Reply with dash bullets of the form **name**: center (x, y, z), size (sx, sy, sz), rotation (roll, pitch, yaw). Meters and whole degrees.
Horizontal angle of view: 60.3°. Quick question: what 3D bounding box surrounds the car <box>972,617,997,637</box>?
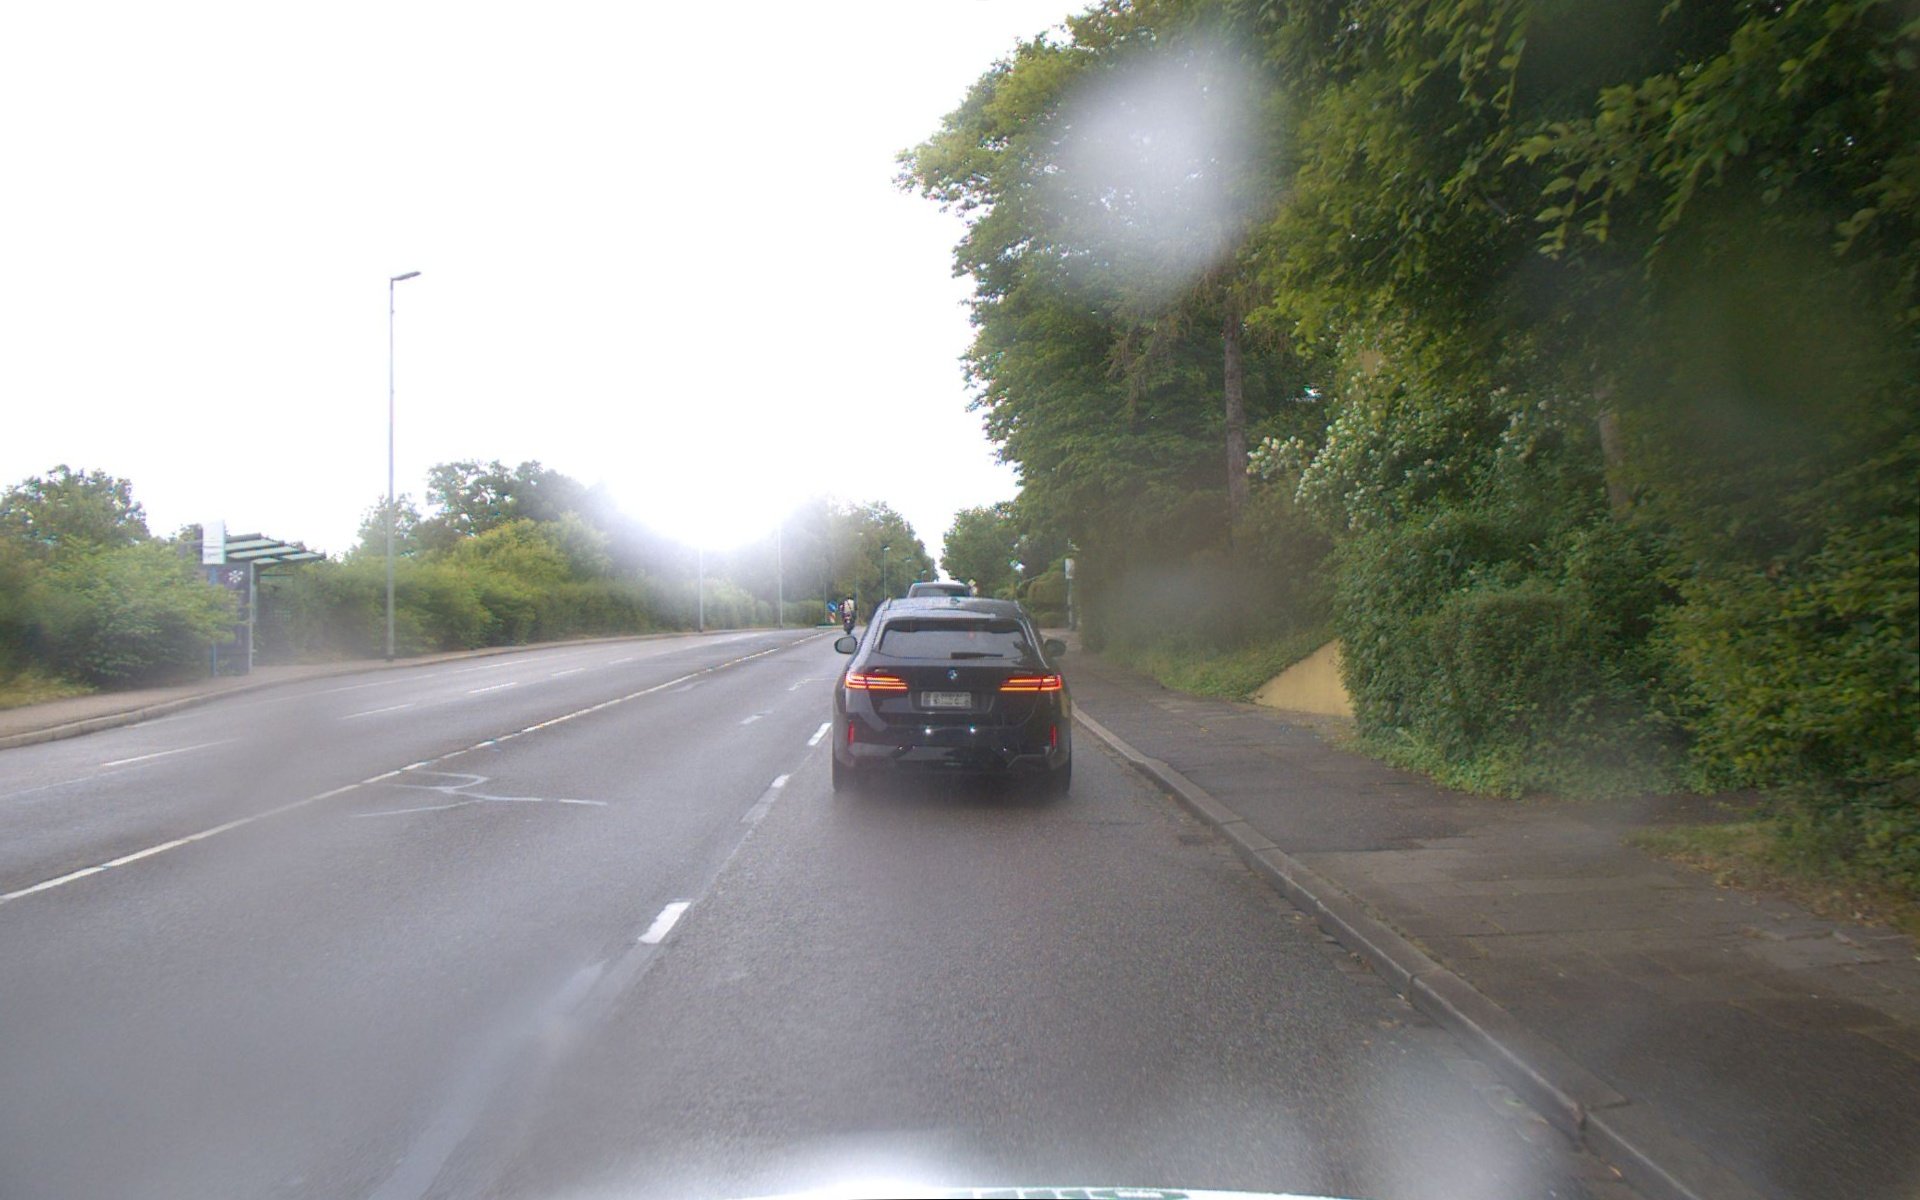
- **car**: center (1.914, 2.110, 130.054), size (1.895, 1.467, 4.408), rotation (-1, -1, 2)

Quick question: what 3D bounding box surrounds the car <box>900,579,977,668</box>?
- **car**: center (-0.488, 0.509, 37.374), size (1.596, 1.865, 3.999), rotation (-1, 0, -1)

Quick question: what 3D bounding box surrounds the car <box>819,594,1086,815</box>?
- **car**: center (-0.044, 0.761, 13.722), size (1.858, 1.515, 4.000), rotation (2, -1, 0)

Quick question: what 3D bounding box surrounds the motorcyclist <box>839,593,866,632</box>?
- **motorcyclist**: center (-4.499, 0.509, 69.223), size (1.018, 1.595, 0.855), rotation (1, -1, -1)
